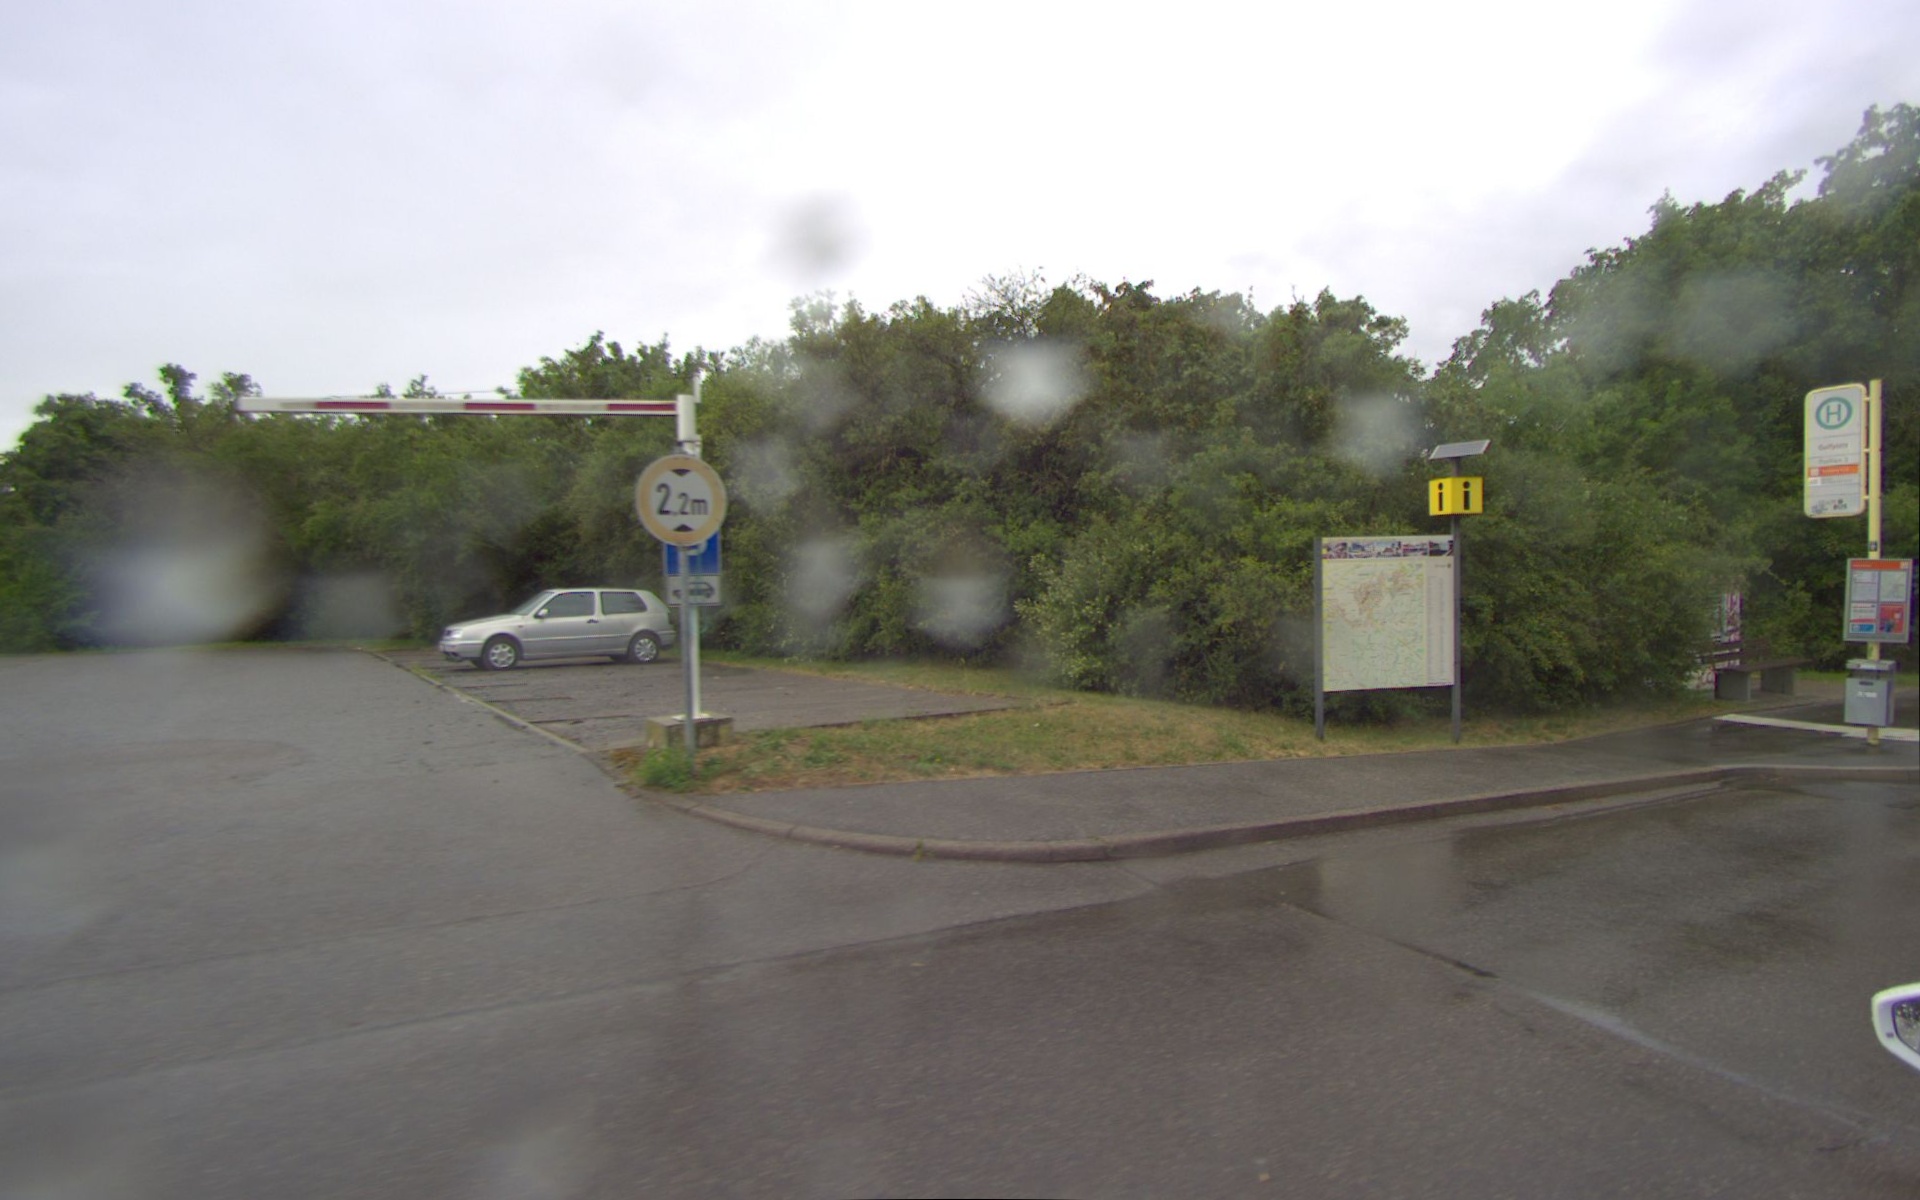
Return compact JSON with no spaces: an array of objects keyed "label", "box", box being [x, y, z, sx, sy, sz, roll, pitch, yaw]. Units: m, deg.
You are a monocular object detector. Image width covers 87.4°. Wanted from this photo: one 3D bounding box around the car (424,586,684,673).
[{"label":"car","box":[-7.301,0.449,18.228,4.130,1.417,1.680,-1,1,-35]}]
